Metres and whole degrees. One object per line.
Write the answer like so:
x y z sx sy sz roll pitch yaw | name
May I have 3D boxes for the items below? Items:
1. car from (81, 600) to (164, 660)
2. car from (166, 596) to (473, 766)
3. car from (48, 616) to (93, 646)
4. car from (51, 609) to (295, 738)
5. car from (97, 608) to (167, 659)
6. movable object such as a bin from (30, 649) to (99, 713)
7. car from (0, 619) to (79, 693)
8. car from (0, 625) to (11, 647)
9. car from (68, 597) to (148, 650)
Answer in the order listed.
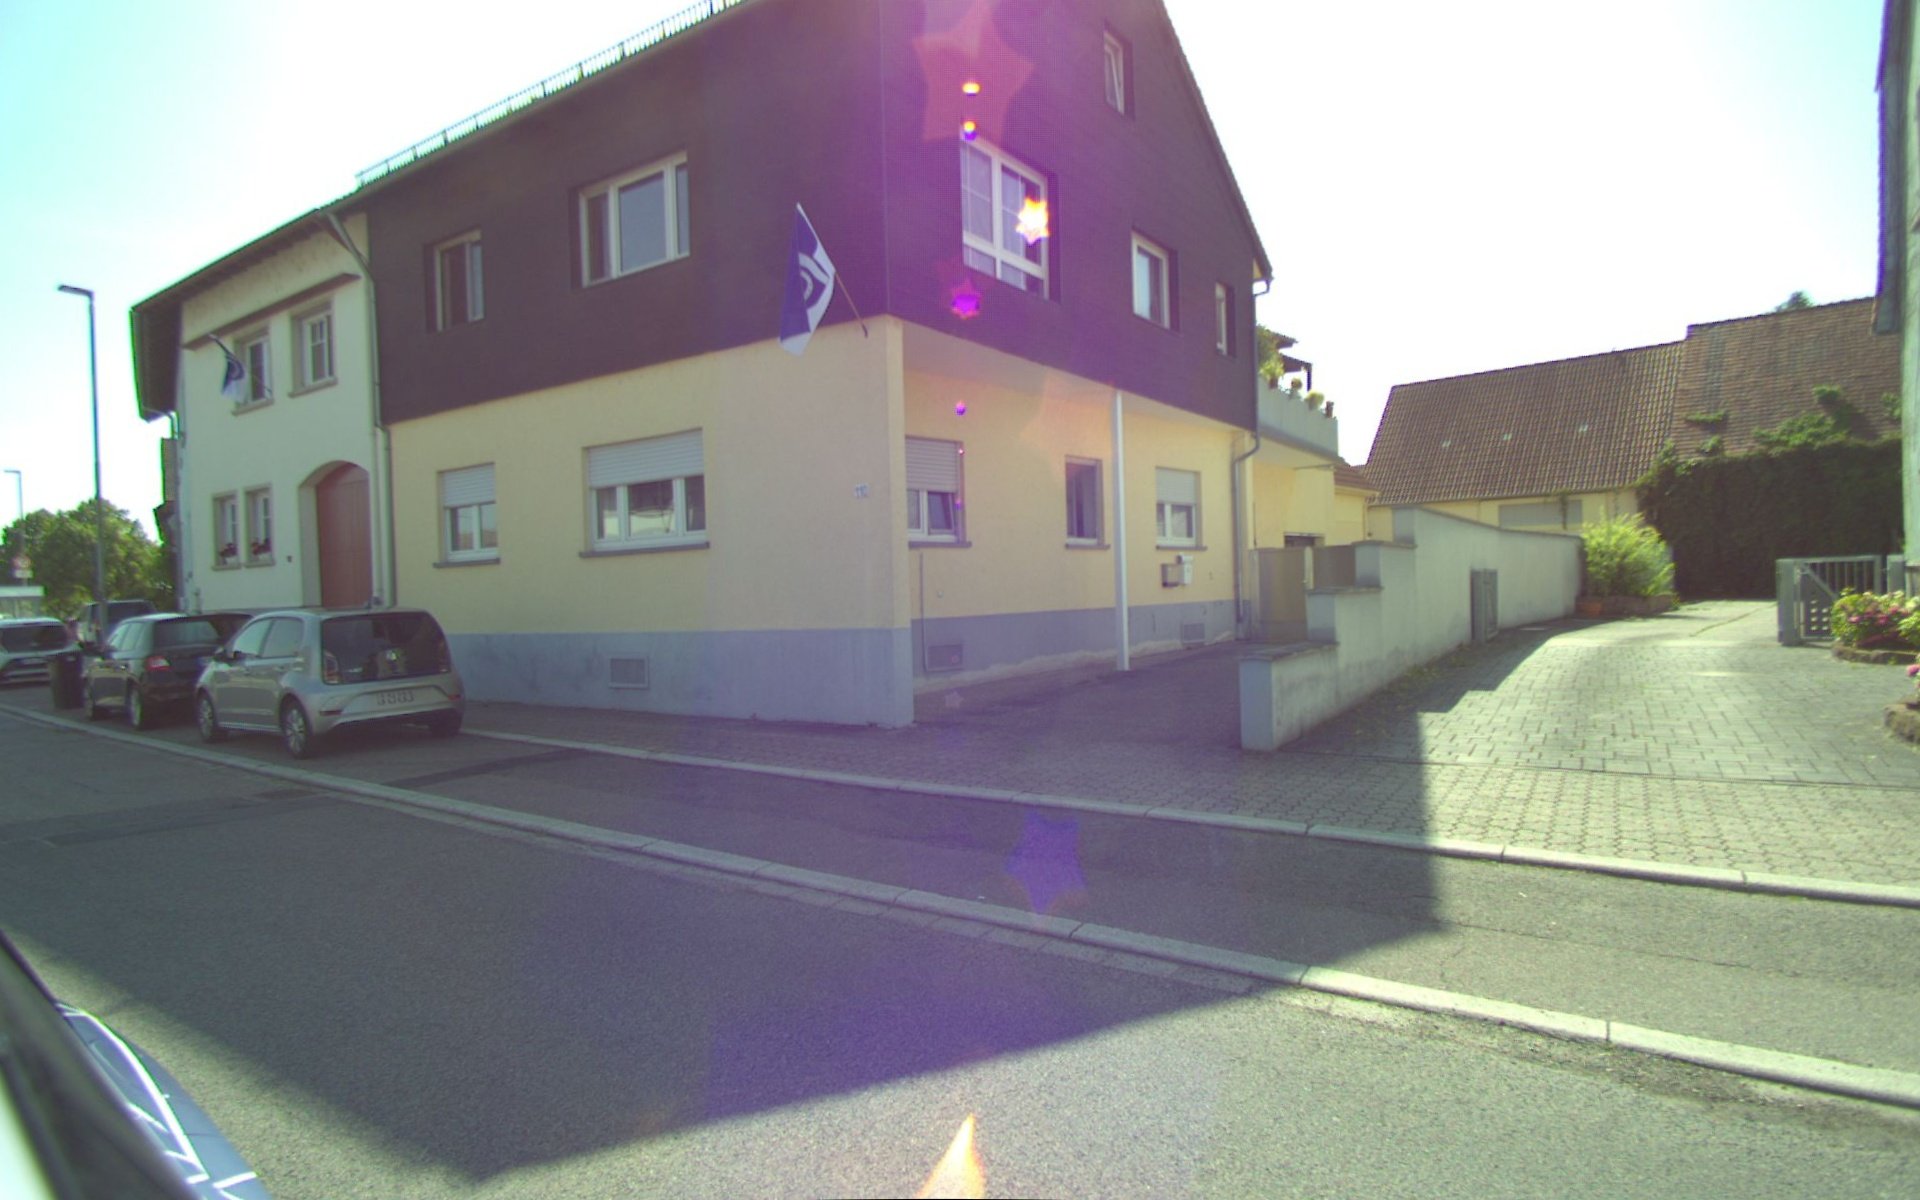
-28.624 0.996 34.703 1.813 1.806 4.353 -5 2 -36 | car
-7.219 0.791 11.294 3.775 1.512 1.626 -1 2 37 | car
-49.089 1.718 55.827 1.694 1.464 3.919 -3 0 -43 | car
-11.098 0.929 14.191 3.989 1.447 1.663 -1 3 37 | car
-31.563 1.227 38.613 1.943 1.787 4.285 -2 1 -39 | car
-14.358 1.288 16.223 0.823 0.935 0.547 -2 4 32 | movable object such as a bin
-20.938 1.193 22.473 3.649 1.473 1.666 -1 1 43 | car
-110.616 4.147 116.153 1.909 2.521 5.850 -1 0 -38 | car
-37.875 1.014 44.926 5.268 2.000 2.103 -1 5 45 | car
